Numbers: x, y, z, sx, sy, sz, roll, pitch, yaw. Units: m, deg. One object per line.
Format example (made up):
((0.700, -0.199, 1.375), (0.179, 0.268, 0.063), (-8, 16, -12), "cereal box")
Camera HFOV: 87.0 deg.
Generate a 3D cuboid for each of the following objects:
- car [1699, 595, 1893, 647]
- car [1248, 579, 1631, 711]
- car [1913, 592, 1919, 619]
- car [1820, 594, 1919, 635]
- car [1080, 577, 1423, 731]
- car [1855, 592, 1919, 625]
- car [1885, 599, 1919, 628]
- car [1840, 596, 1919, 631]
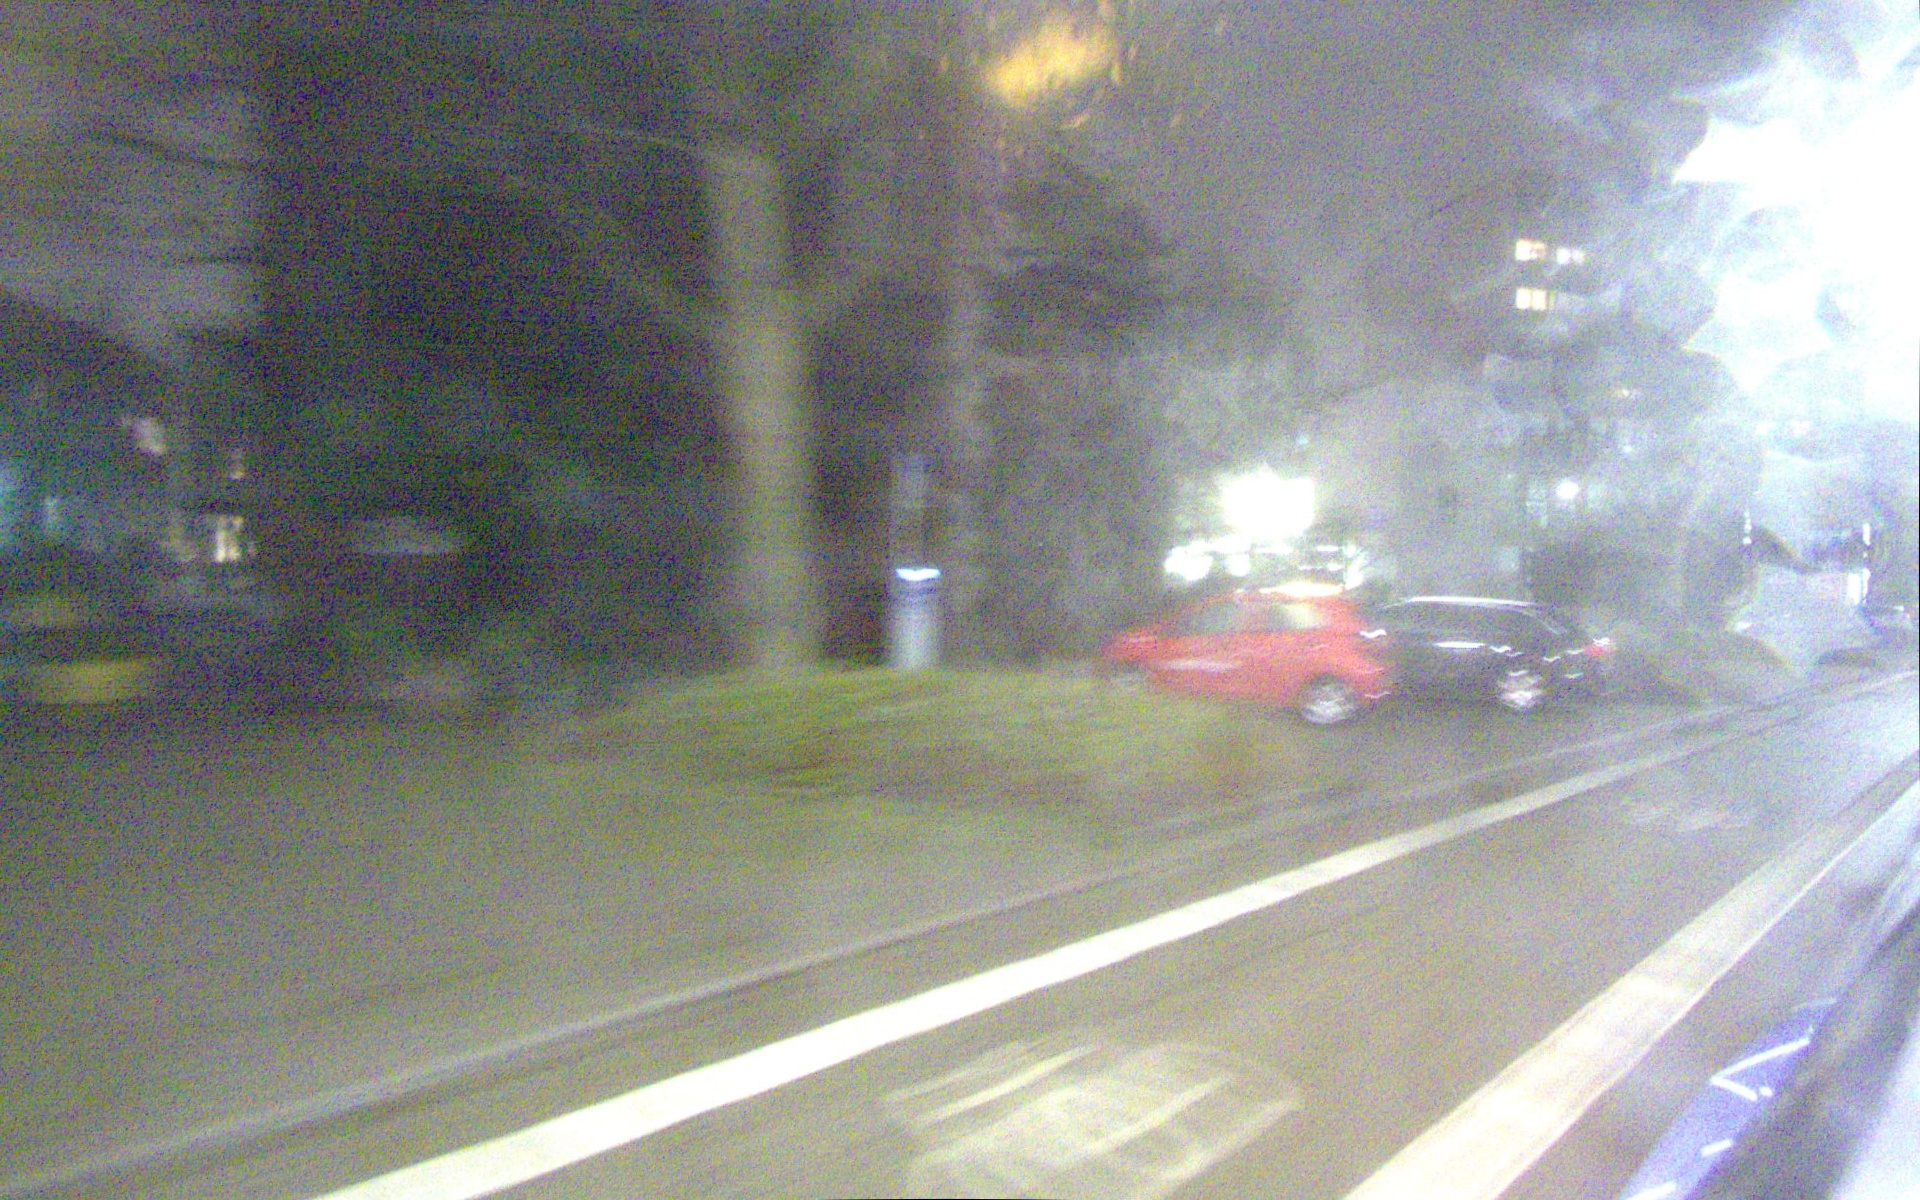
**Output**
((25.540, 0.618, 31.066), (4.273, 1.486, 1.676), (1, 1, 12), "car")
((6.553, 0.504, 14.152), (4.562, 1.493, 1.820), (2, 2, 30), "car")
((57.757, 0.313, 58.228), (3.946, 1.547, 1.797), (0, 1, 8), "car")
((35.905, 0.542, 39.093), (3.835, 1.531, 1.711), (0, 1, 3), "car")
((3.481, 0.533, 12.250), (3.677, 1.537, 1.640), (2, 2, 32), "car")
((44.877, 0.391, 47.517), (4.108, 1.501, 1.662), (0, -1, 1), "car")
((54.087, 0.749, 56.287), (3.602, 1.547, 1.715), (0, 1, 4), "car")
((40.628, 0.561, 43.271), (4.185, 1.435, 1.781), (0, 1, 9), "car")
